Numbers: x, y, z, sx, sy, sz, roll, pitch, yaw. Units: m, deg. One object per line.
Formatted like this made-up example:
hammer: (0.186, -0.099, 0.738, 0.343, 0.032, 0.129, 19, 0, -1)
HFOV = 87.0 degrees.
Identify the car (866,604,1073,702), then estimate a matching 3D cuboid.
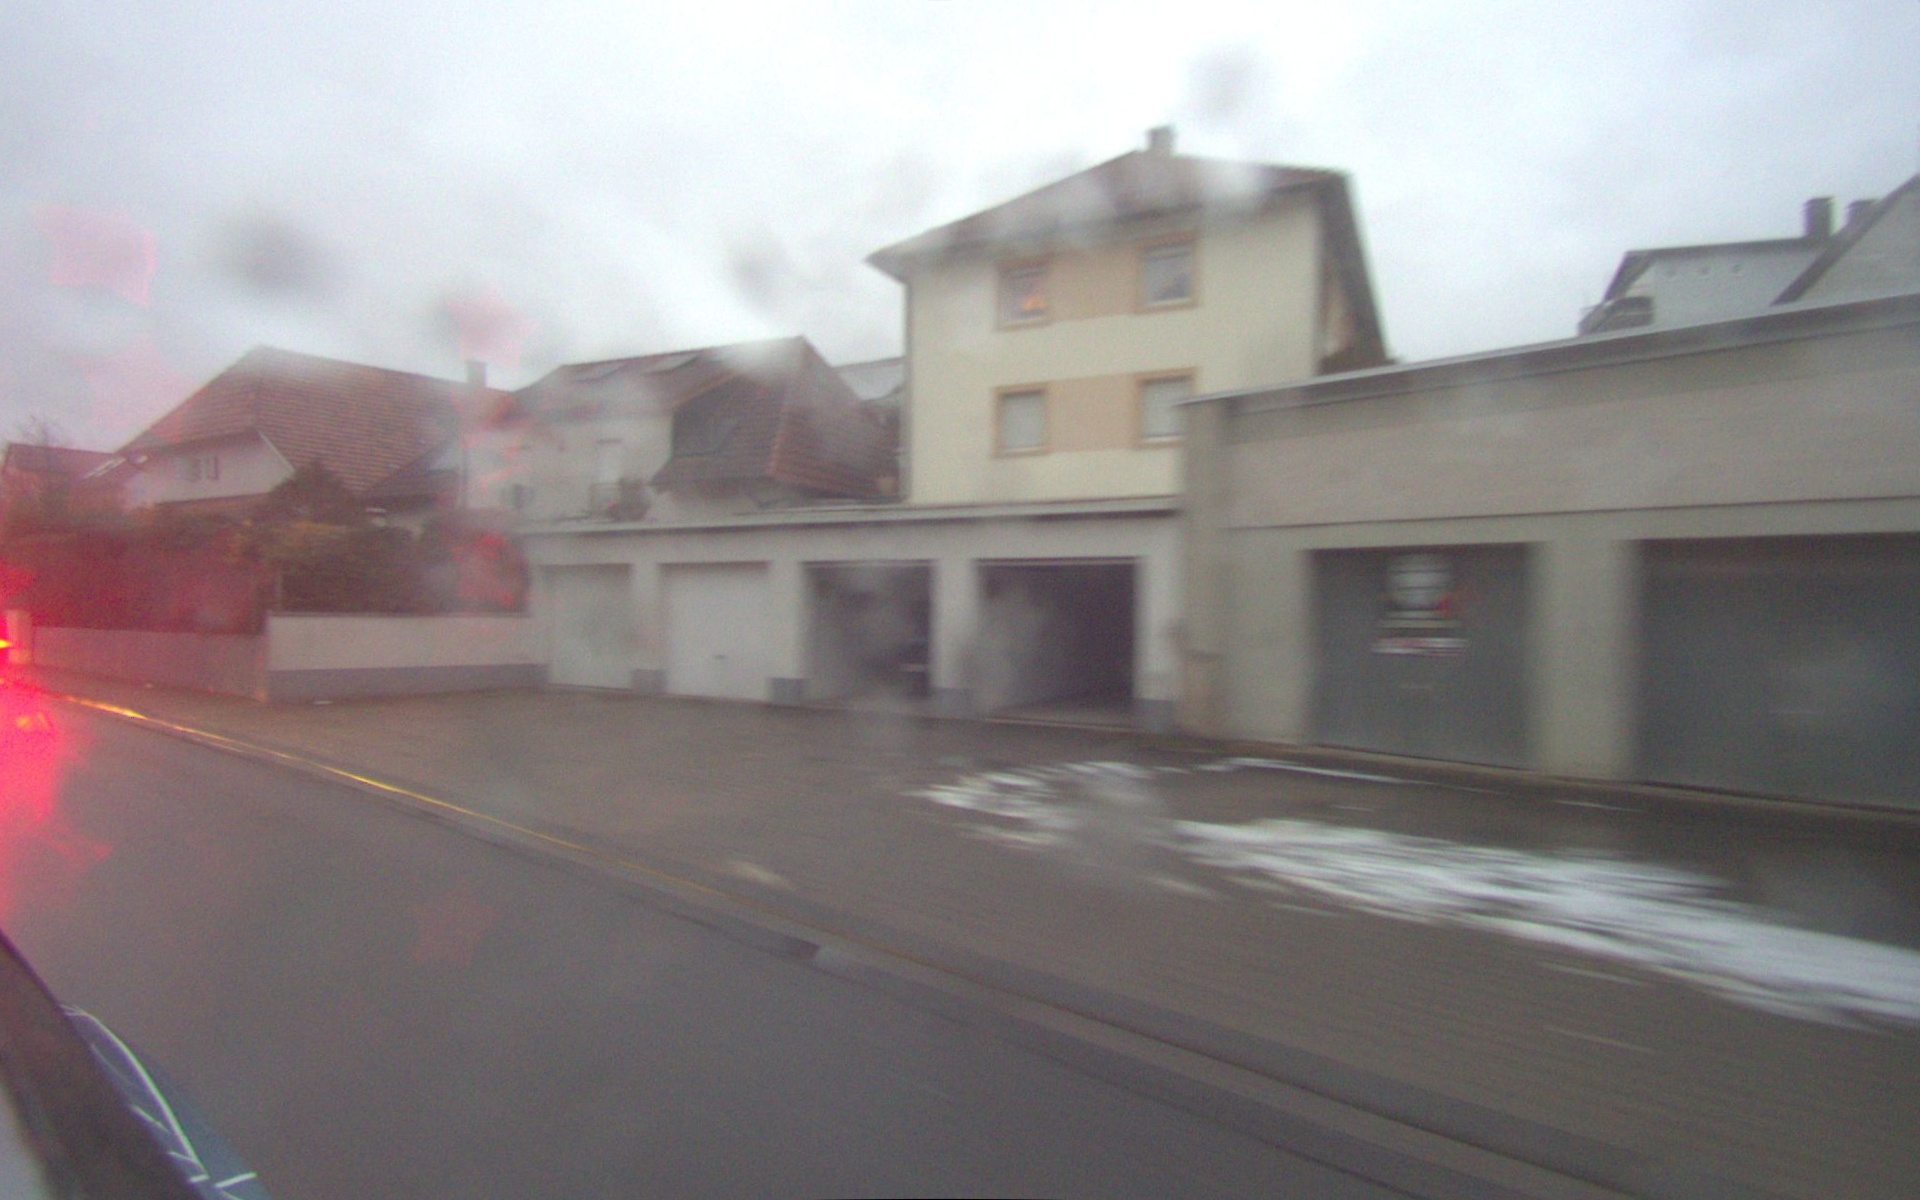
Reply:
car: (0.284, 0.788, 16.708, 1.754, 1.414, 3.960, -1, -1, 29)

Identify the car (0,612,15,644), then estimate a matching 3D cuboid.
car: (-51.255, 1.439, 51.880, 3.935, 1.674, 1.759, 0, -1, -37)

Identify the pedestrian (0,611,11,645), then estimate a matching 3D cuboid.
pedestrian: (-44.586, 1.287, 47.082, 0.581, 1.583, 0.584, 0, 0, 41)
